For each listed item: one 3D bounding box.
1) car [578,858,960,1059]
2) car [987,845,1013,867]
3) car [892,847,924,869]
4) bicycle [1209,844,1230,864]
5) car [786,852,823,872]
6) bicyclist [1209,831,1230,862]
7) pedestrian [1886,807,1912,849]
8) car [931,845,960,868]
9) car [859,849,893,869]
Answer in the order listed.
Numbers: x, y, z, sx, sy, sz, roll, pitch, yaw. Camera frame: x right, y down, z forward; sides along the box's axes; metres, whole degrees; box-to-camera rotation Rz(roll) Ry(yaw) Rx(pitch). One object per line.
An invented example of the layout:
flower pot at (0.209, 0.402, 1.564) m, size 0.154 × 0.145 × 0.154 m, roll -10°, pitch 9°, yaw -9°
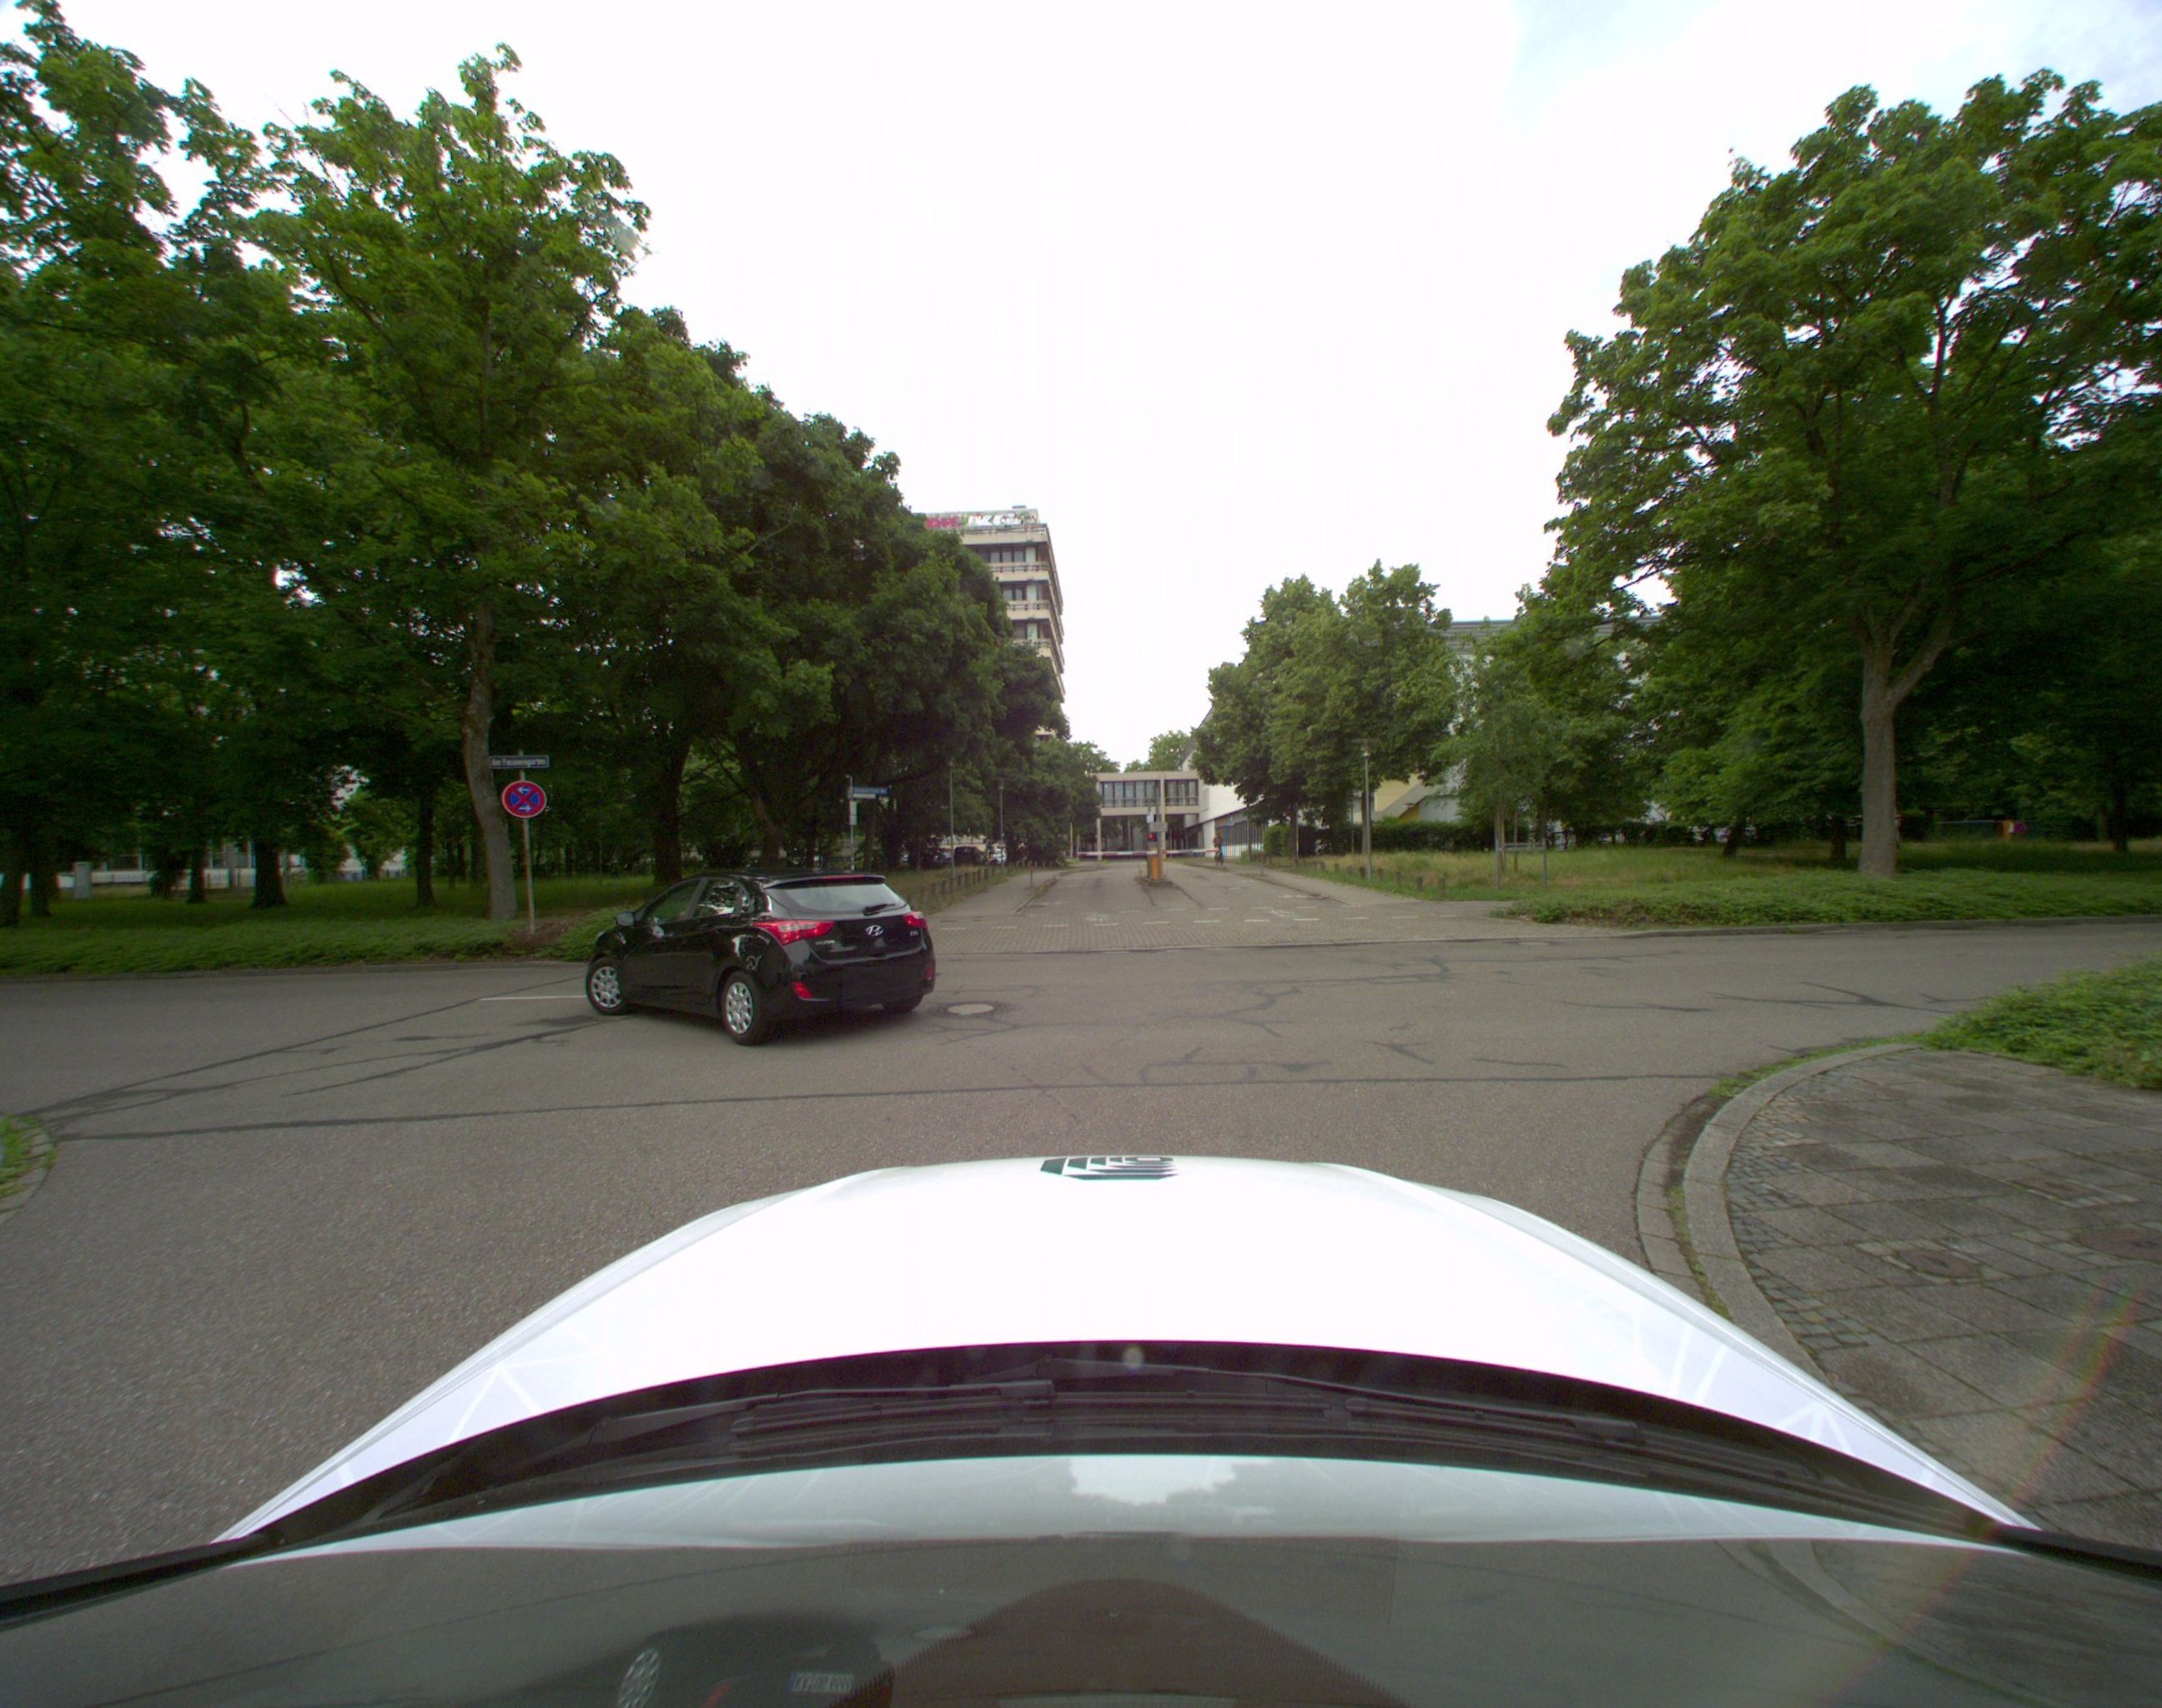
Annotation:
car at (-3.178, 0.816, 7.994) m, size 3.778 × 1.462 × 1.864 m, roll -1°, pitch 0°, yaw 40°
car at (-6.822, 0.181, 68.782) m, size 1.989 × 1.762 × 3.995 m, roll -2°, pitch -1°, yaw -3°
car at (-14.504, 0.343, 68.442) m, size 1.989 × 1.728 × 3.995 m, roll -2°, pitch -1°, yaw -3°
bicycle at (7.615, -0.026, 44.859) m, size 0.863 × 1.074 × 2.143 m, roll -2°, pitch 1°, yaw 2°
car at (-23.378, 0.635, 68.933) m, size 1.913 × 1.618 × 3.996 m, roll -2°, pitch 0°, yaw -3°
bicyclist at (7.615, -0.420, 44.779) m, size 1.013 × 1.644 × 0.923 m, roll -2°, pitch 1°, yaw 1°
pedestrian at (36.236, -1.147, 36.083) m, size 0.567 × 1.798 × 0.545 m, roll -1°, pitch 1°, yaw 10°
car at (-11.403, 0.278, 68.750) m, size 1.989 × 1.794 × 3.995 m, roll -2°, pitch -1°, yaw -3°
car at (-17.214, 0.403, 68.528) m, size 1.989 × 1.618 × 3.996 m, roll -2°, pitch 0°, yaw -3°
